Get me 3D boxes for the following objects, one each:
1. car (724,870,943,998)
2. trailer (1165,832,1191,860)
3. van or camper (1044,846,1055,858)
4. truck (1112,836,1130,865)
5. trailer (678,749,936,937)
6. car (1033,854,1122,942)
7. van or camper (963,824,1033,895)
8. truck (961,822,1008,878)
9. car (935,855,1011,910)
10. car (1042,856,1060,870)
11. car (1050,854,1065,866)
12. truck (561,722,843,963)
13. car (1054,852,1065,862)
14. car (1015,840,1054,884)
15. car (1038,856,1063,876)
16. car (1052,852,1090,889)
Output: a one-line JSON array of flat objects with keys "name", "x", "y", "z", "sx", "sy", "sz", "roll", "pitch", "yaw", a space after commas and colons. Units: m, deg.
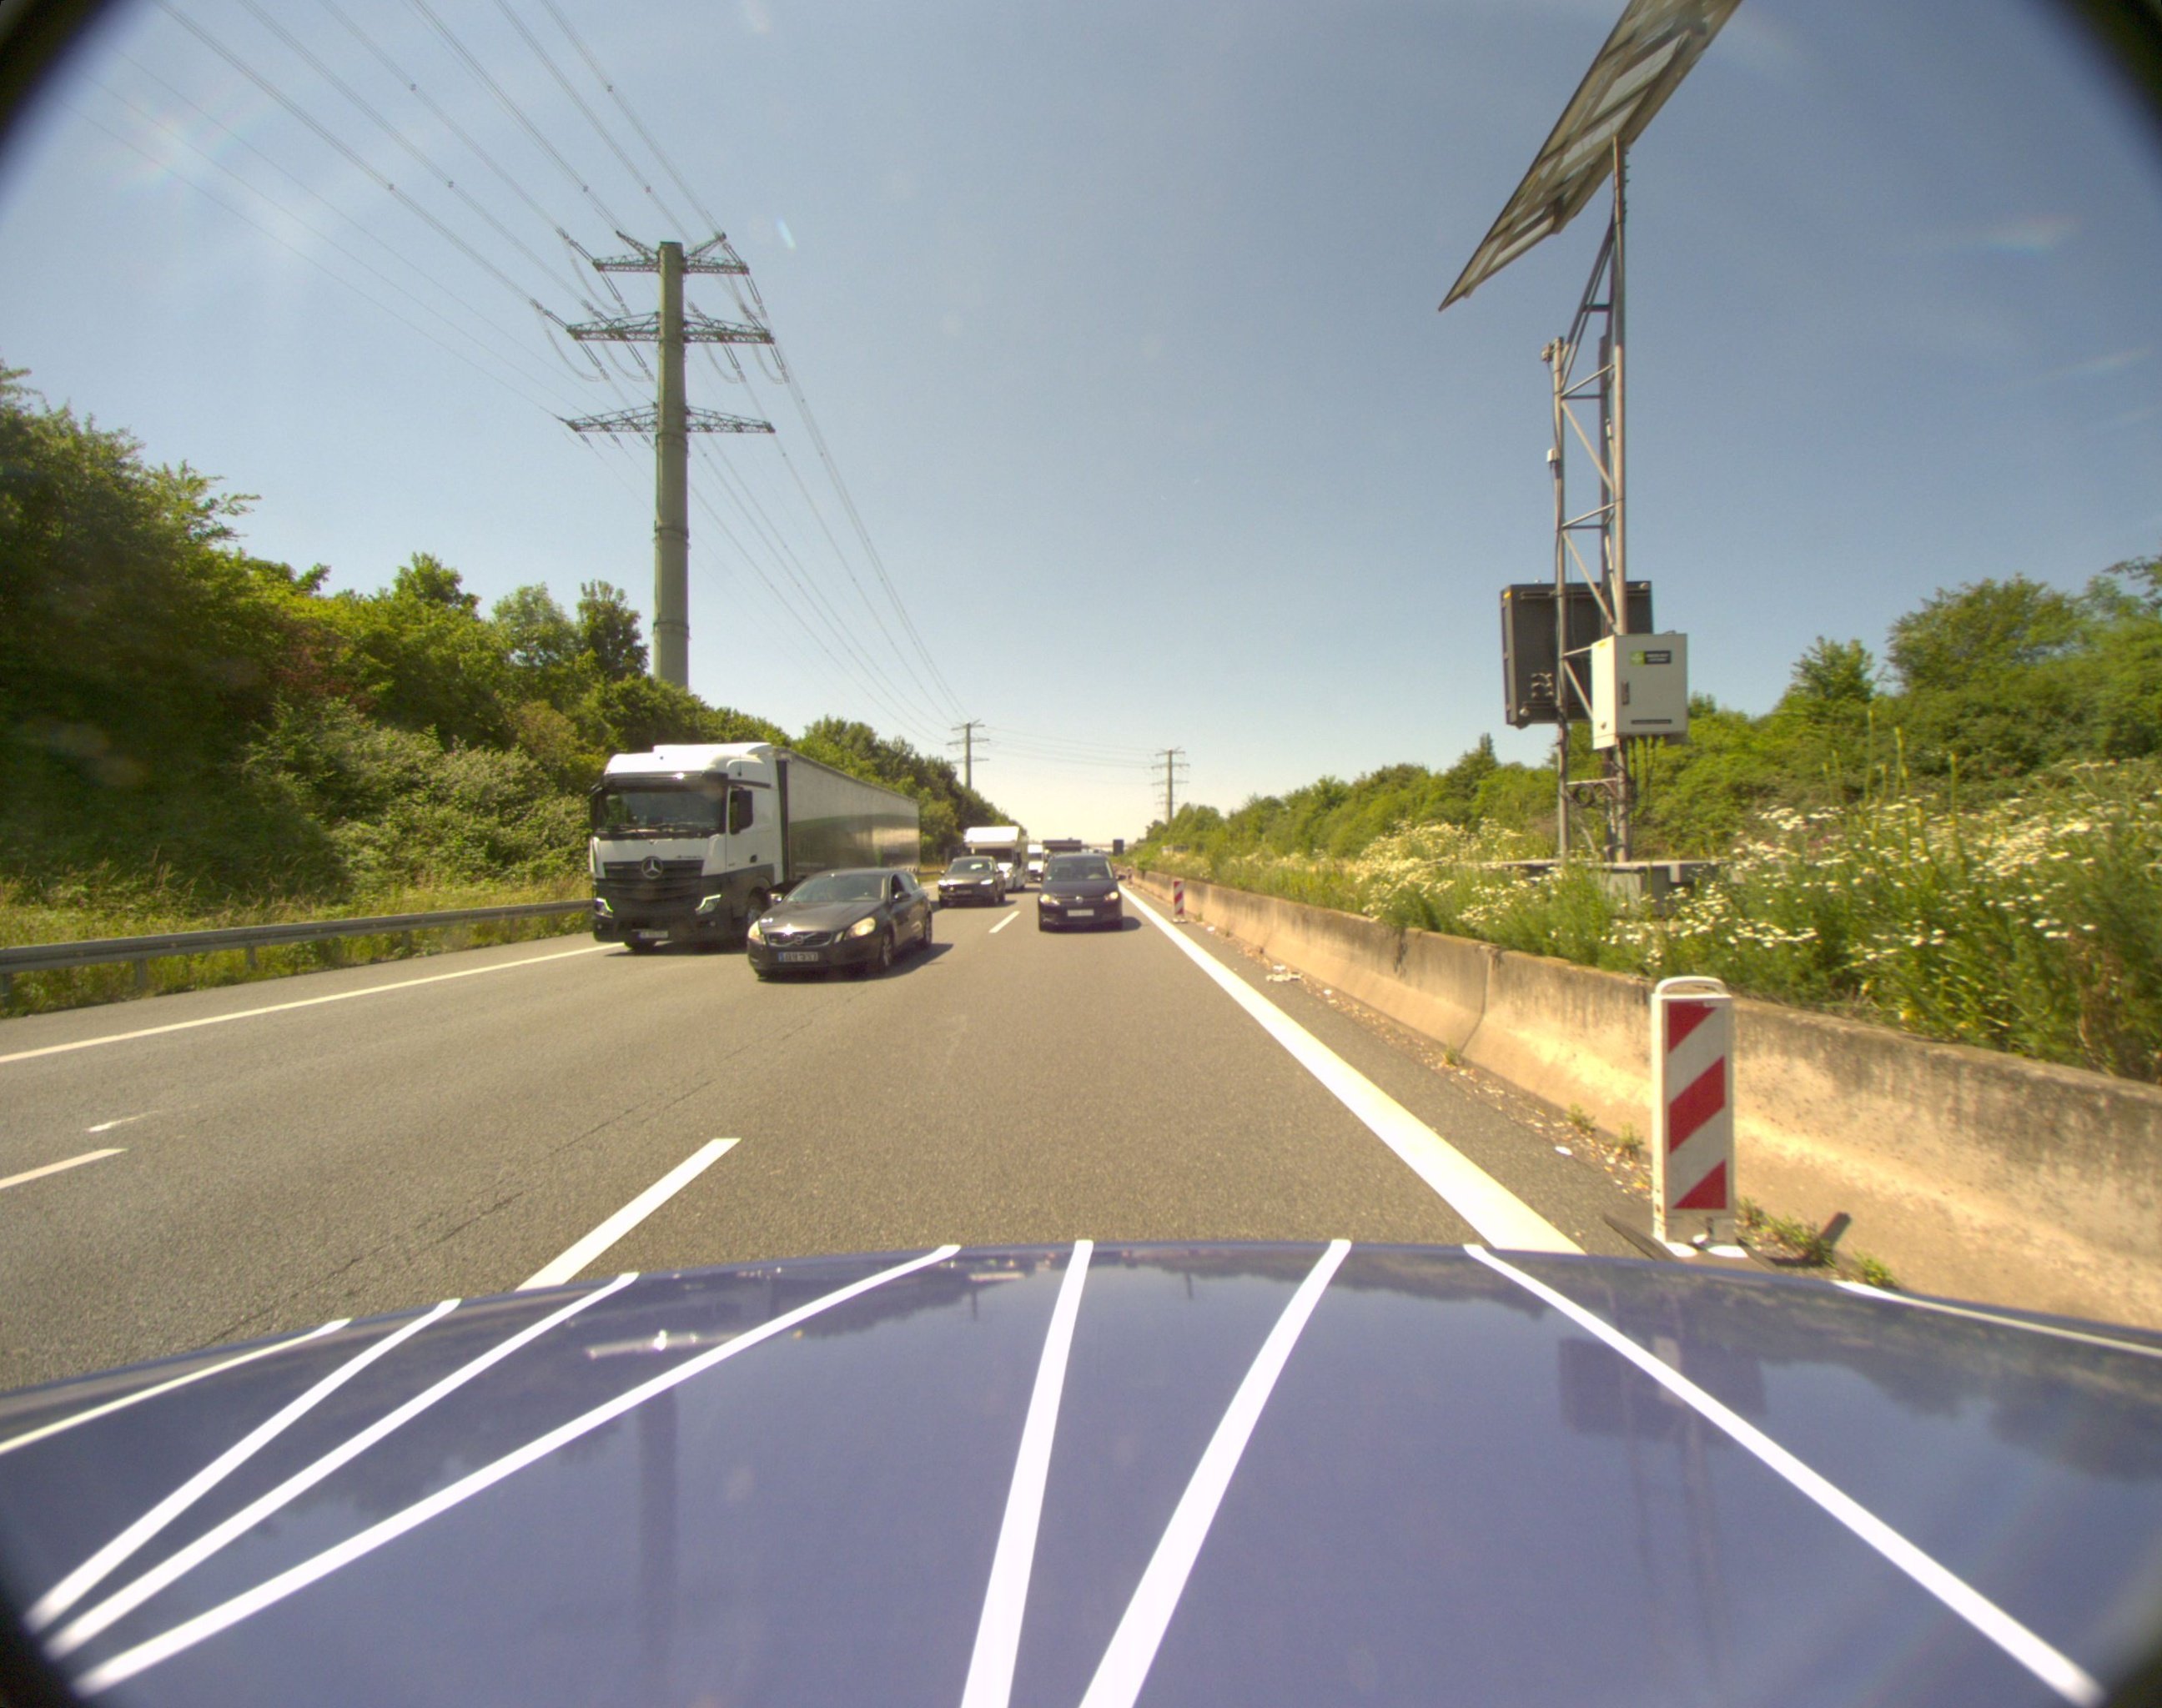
[{"name": "car", "x": -3.501, "y": 1.049, "z": 11.765, "sx": 1.799, "sy": 1.411, "sz": 4.509, "roll": -2, "pitch": 1, "yaw": 1}, {"name": "trailer", "x": 16.435, "y": -1.399, "z": 129.590, "sx": 2.967, "sy": 4.378, "sz": 12.905, "roll": -2, "pitch": 1, "yaw": 1}, {"name": "van or camper", "x": -6.933, "y": -0.426, "z": 169.233, "sx": 1.978, "sy": 2.511, "sz": 4.369, "roll": -2, "pitch": 1, "yaw": 1}, {"name": "truck", "x": 4.657, "y": -0.467, "z": 89.633, "sx": 1.892, "sy": 3.263, "sz": 5.590, "roll": -2, "pitch": 1, "yaw": 1}, {"name": "trailer", "x": -7.262, "y": -0.287, "z": 23.245, "sx": 2.790, "sy": 4.024, "sz": 13.111, "roll": -2, "pitch": 1, "yaw": 1}, {"name": "car", "x": -0.039, "y": 0.872, "z": 17.183, "sx": 1.700, "sy": 1.641, "sz": 4.220, "roll": -2, "pitch": 1, "yaw": 1}, {"name": "van or camper", "x": -3.889, "y": 0.213, "z": 37.148, "sx": 2.375, "sy": 3.026, "sz": 7.632, "roll": -2, "pitch": 1, "yaw": 1}, {"name": "truck", "x": -7.559, "y": -0.354, "z": 60.153, "sx": 2.792, "sy": 4.120, "sz": 5.636, "roll": -2, "pitch": 1, "yaw": 1}, {"name": "car", "x": -3.600, "y": 0.910, "z": 26.040, "sx": 1.893, "sy": 1.602, "sz": 4.220, "roll": -2, "pitch": 1, "yaw": 1}, {"name": "car", "x": -3.422, "y": 0.991, "z": 85.976, "sx": 1.720, "sy": 1.510, "sz": 3.874, "roll": -2, "pitch": 1, "yaw": 1}, {"name": "car", "x": -3.130, "y": 0.850, "z": 102.672, "sx": 1.720, "sy": 1.510, "sz": 3.874, "roll": -2, "pitch": 1, "yaw": 1}, {"name": "truck", "x": -7.394, "y": -0.215, "z": 15.905, "sx": 2.740, "sy": 4.024, "sz": 5.793, "roll": -2, "pitch": 1, "yaw": 1}, {"name": "car", "x": -3.627, "y": 0.452, "z": 128.972, "sx": 1.720, "sy": 1.510, "sz": 3.874, "roll": -2, "pitch": 1, "yaw": 1}, {"name": "car", "x": -3.071, "y": 0.455, "z": 51.557, "sx": 2.042, "sy": 2.703, "sz": 6.705, "roll": -2, "pitch": 1, "yaw": 1}, {"name": "car", "x": -2.456, "y": 0.948, "z": 62.317, "sx": 1.720, "sy": 1.510, "sz": 3.874, "roll": -2, "pitch": 1, "yaw": 1}, {"name": "car", "x": -0.440, "y": 0.761, "z": 37.700, "sx": 1.700, "sy": 1.641, "sz": 4.220, "roll": -2, "pitch": 1, "yaw": 1}]
